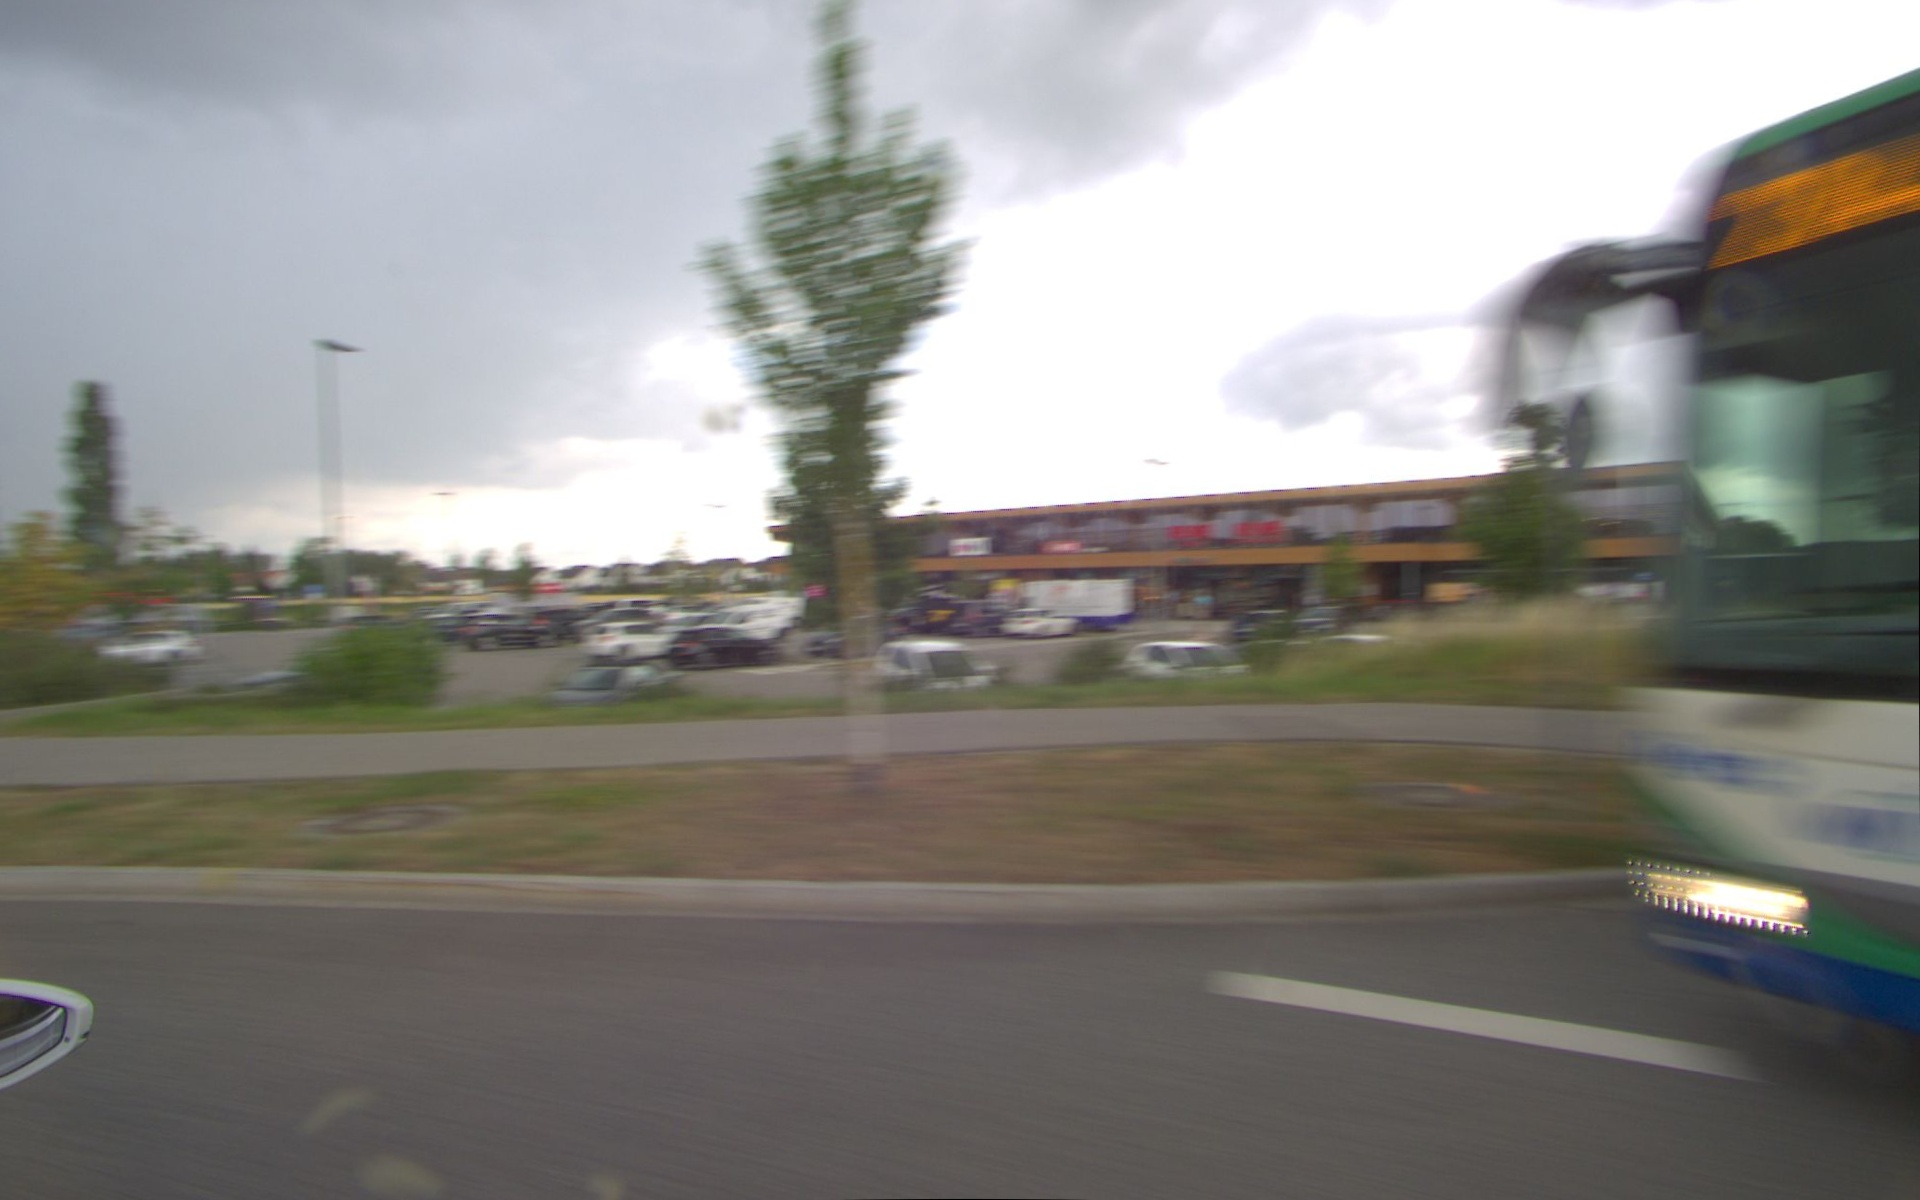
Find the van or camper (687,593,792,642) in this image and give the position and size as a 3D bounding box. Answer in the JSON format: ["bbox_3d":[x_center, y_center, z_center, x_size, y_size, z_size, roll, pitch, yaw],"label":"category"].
[{"bbox_3d":[-10.150,0.819,46.367,1.743,2.125,4.772,-1,-1,37],"label":"van or camper"}]

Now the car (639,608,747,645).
[{"bbox_3d":[-12.700,1.222,47.839,1.882,1.504,4.748,0,2,41],"label":"car"}]

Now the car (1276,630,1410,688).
[{"bbox_3d":[10.403,1.554,27.478,1.391,1.312,3.666,-2,1,-20],"label":"car"}]

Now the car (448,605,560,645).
[{"bbox_3d":[-21.261,1.114,46.817,1.783,1.729,4.428,0,1,41],"label":"car"}]

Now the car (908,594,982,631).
[{"bbox_3d":[-0.761,0.629,53.288,1.752,1.879,3.966,0,1,41],"label":"car"}]

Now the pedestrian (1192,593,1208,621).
[{"bbox_3d":[14.642,0.428,61.046,0.739,1.680,0.801,0,2,28],"label":"pedestrian"}]

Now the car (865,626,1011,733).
[{"bbox_3d":[-0.610,1.642,22.237,1.770,1.697,4.427,-3,4,-22],"label":"car"}]

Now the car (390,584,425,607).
[{"bbox_3d":[-49.842,-0.361,90.302,1.979,2.040,3.964,1,-1,-42],"label":"car"}]

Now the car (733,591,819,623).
[{"bbox_3d":[-11.525,0.403,63.035,1.978,1.855,5.258,-1,1,41],"label":"car"}]

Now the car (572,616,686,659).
[{"bbox_3d":[-12.788,1.406,38.841,1.661,1.505,3.968,0,1,37],"label":"car"}]

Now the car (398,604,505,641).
[{"bbox_3d":[-25.770,1.108,50.854,1.977,1.687,4.380,0,2,42],"label":"car"}]

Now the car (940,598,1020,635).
[{"bbox_3d":[1.056,0.809,50.608,1.831,1.748,4.087,-1,0,40],"label":"car"}]

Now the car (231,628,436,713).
[{"bbox_3d":[-15.481,1.666,24.922,1.764,1.630,3.977,6,4,32],"label":"car"}]

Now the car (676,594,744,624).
[{"bbox_3d":[-16.596,0.563,66.587,3.960,1.863,1.980,-2,2,-45],"label":"car"}]

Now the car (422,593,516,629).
[{"bbox_3d":[-31.065,0.648,63.564,1.970,2.041,5.097,1,3,31],"label":"car"}]

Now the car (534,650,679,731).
[{"bbox_3d":[-7.447,1.868,21.474,1.550,1.391,3.731,-1,0,4],"label":"car"}]

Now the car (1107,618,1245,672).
[{"bbox_3d":[5.914,1.204,27.779,1.693,1.311,3.654,-1,0,-32],"label":"car"}]

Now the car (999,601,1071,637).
[{"bbox_3d":[3.709,0.888,49.004,1.709,1.551,3.972,0,2,36],"label":"car"}]

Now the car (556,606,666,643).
[{"bbox_3d":[-17.738,1.202,51.098,1.977,1.687,4.948,0,2,41],"label":"car"}]

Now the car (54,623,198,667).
[{"bbox_3d":[-33.697,1.774,40.552,1.977,1.459,4.210,0,2,42],"label":"car"}]

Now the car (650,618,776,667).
[{"bbox_3d":[-8.489,1.409,34.657,1.813,1.417,3.971,0,2,37],"label":"car"}]

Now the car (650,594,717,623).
[{"bbox_3d":[-18.930,0.539,68.549,1.979,1.862,3.962,0,1,44],"label":"car"}]

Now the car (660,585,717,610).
[{"bbox_3d":[-21.533,-0.194,79.391,3.960,1.865,1.856,-2,2,-45],"label":"car"}]

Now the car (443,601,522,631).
[{"bbox_3d":[-28.990,0.939,60.871,1.696,1.729,3.966,0,1,41],"label":"car"}]

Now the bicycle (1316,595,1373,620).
[{"bbox_3d":[21.552,0.427,56.151,2.836,1.327,0.971,0,2,41],"label":"bicycle"}]

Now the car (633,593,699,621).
[{"bbox_3d":[-20.685,0.500,70.510,3.961,1.862,1.980,-2,1,-45],"label":"car"}]

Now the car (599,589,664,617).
[{"bbox_3d":[-23.508,0.220,71.779,1.979,1.863,3.961,0,2,45],"label":"car"}]

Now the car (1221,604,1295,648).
[{"bbox_3d":[12.317,1.030,41.265,1.695,1.590,3.641,0,2,39],"label":"car"}]

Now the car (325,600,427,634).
[{"bbox_3d":[-32.731,0.911,56.190,1.977,1.687,4.532,0,2,42],"label":"car"}]

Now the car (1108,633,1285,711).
[{"bbox_3d":[5.544,1.629,23.925,1.970,1.528,3.980,-2,1,-29],"label":"car"}]

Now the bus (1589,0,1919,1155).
[{"bbox_3d":[5.503,-0.249,3.795,6.452,3.302,2.512,-1,1,-29],"label":"bus"}]

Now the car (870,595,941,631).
[{"bbox_3d":[-2.983,0.727,55.647,1.750,1.879,3.972,-1,1,37],"label":"car"}]

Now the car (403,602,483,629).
[{"bbox_3d":[-33.400,0.977,64.784,1.748,1.599,4.287,0,2,43],"label":"car"}]

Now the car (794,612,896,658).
[{"bbox_3d":[-4.410,1.301,38.874,1.709,1.574,3.973,0,2,36],"label":"car"}]

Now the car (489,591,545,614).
[{"bbox_3d":[-38.199,0.215,86.411,3.962,1.862,1.980,1,-1,-45],"label":"car"}]

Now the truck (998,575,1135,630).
[{"bbox_3d":[5.894,0.104,56.102,7.164,2.845,2.955,0,2,37],"label":"truck"}]
